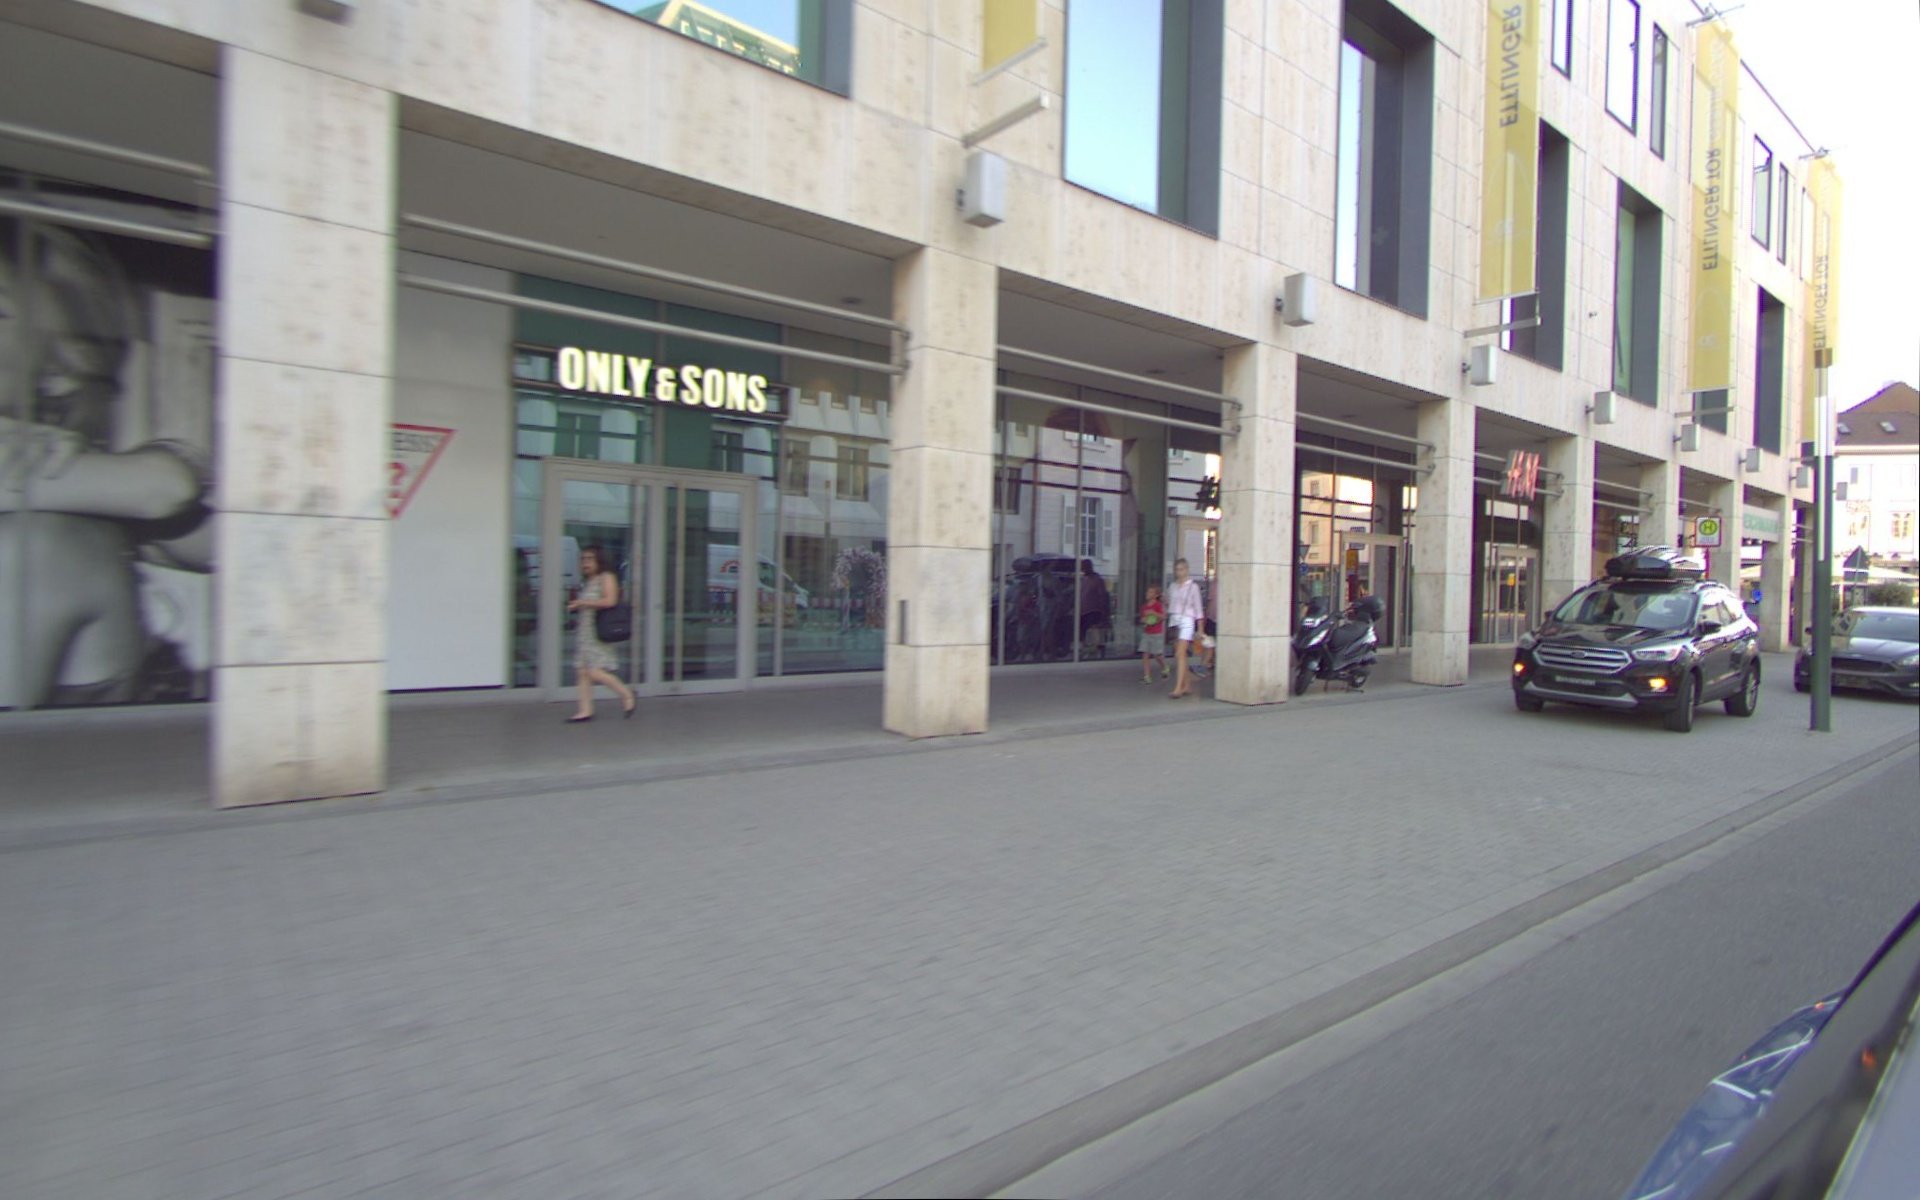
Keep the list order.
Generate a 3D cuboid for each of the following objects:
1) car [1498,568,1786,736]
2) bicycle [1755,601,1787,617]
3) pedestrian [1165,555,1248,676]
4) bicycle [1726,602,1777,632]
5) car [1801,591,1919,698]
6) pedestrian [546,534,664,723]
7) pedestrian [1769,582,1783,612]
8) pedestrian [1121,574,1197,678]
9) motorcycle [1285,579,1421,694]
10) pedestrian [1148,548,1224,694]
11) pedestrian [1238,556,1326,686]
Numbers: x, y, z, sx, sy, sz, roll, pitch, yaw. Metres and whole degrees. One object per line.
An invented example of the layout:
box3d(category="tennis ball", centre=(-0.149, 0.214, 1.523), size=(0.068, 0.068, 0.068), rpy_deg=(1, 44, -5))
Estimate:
box3d(category="car", centre=(8.497, 0.514, 12.491), size=(3.984, 1.657, 1.773), rpy_deg=(0, 5, -39))
box3d(category="bicycle", centre=(50.885, 0.561, 63.489), size=(1.645, 0.946, 0.474), rpy_deg=(1, 0, -2))
box3d(category="pedestrian", centre=(3.601, 0.220, 14.785), size=(0.861, 1.703, 0.766), rpy_deg=(2, 0, -40))
box3d(category="bicycle", centre=(32.925, 0.695, 42.123), size=(1.866, 1.142, 0.609), rpy_deg=(3, 0, -14))
box3d(category="car", centre=(15.739, 0.675, 16.870), size=(4.117, 1.508, 1.800), rpy_deg=(0, 5, -39))
box3d(category="pedestrian", centre=(-3.145, 0.242, 8.963), size=(0.761, 1.587, 0.635), rpy_deg=(2, -1, -40))
box3d(category="pedestrian", centre=(50.994, -0.169, 63.207), size=(0.705, 1.841, 0.509), rpy_deg=(0, 1, -37))
box3d(category="pedestrian", centre=(2.721, 0.344, 13.842), size=(0.761, 1.363, 0.635), rpy_deg=(2, 0, -40))
box3d(category="motorcycle", centre=(5.292, 0.452, 13.582), size=(2.096, 1.434, 0.694), rpy_deg=(0, 1, -37))
box3d(category="pedestrian", centre=(2.767, 0.242, 12.390), size=(0.684, 1.720, 0.591), rpy_deg=(1, 1, -41))
box3d(category="pedestrian", centre=(4.415, 0.276, 13.887), size=(0.861, 1.703, 0.766), rpy_deg=(2, 0, -40))
